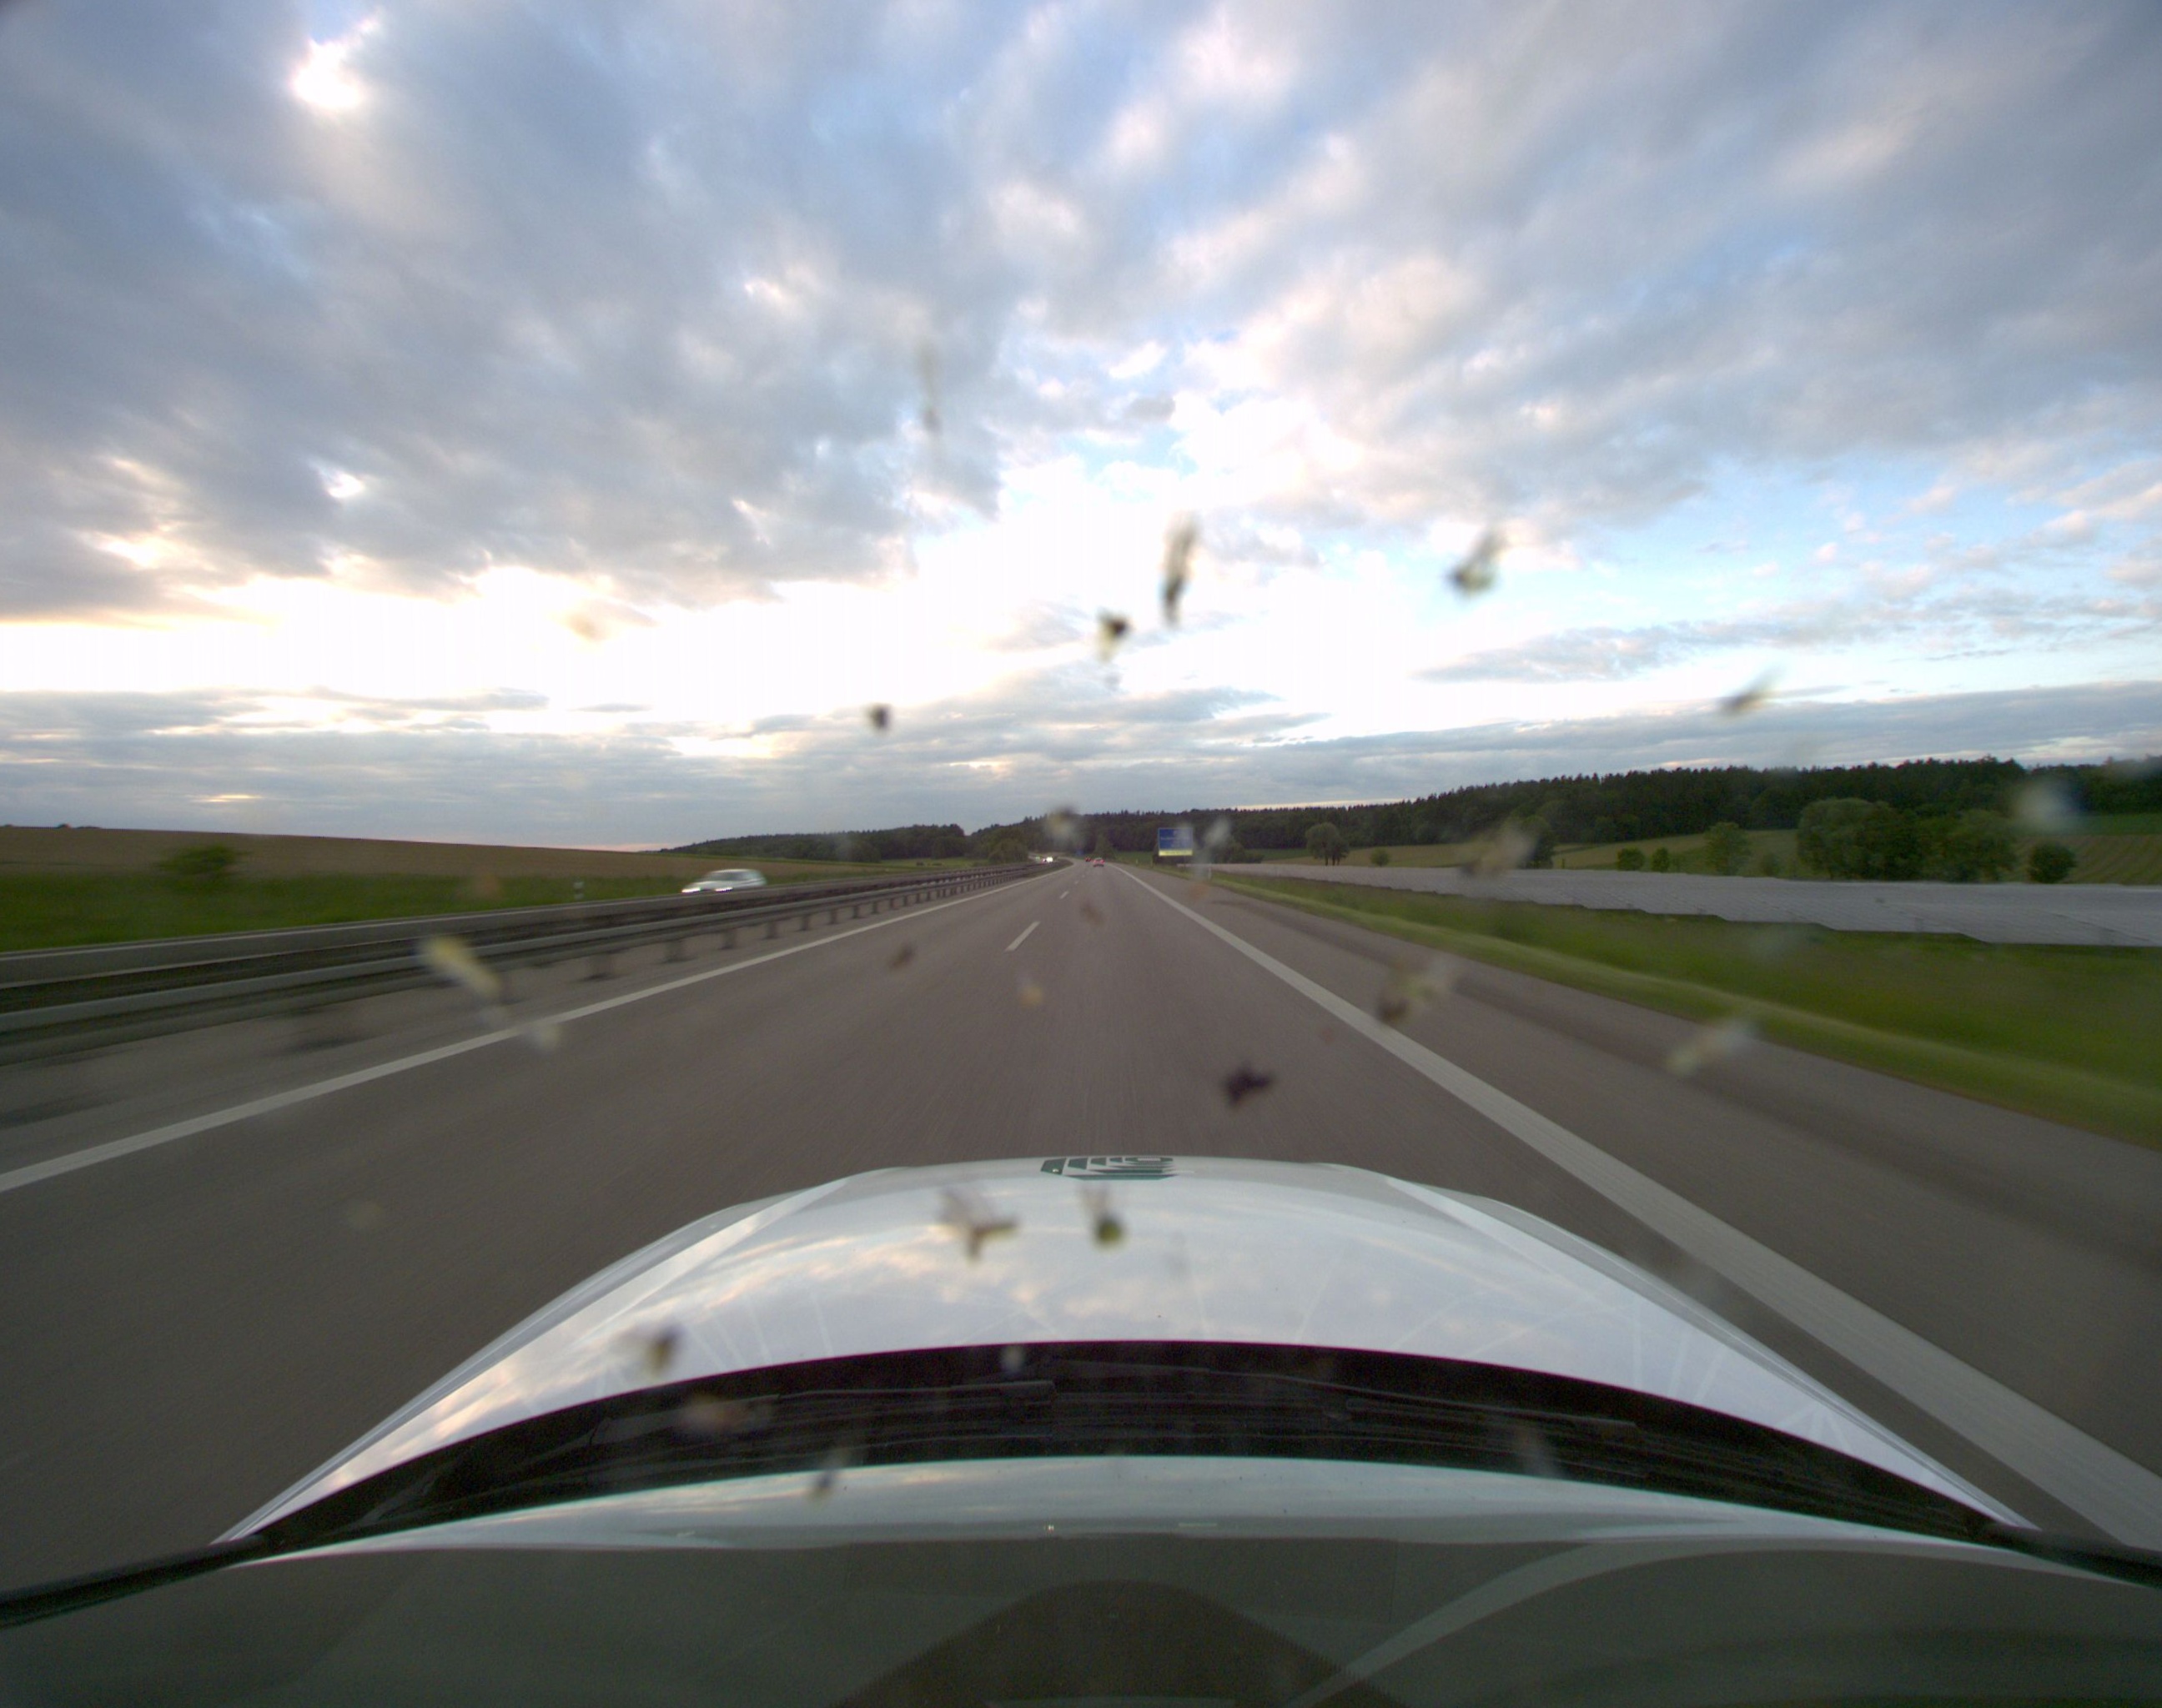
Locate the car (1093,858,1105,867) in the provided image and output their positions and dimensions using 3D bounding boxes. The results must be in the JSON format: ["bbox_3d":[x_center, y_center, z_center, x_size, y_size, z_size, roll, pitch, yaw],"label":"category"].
[{"bbox_3d":[3.031,1.497,140.860,1.946,1.531,4.079,0,0,-1],"label":"car"}]

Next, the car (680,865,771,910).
[{"bbox_3d":[-15.223,1.393,35.182,1.784,1.699,4.591,0,0,2],"label":"car"}]
